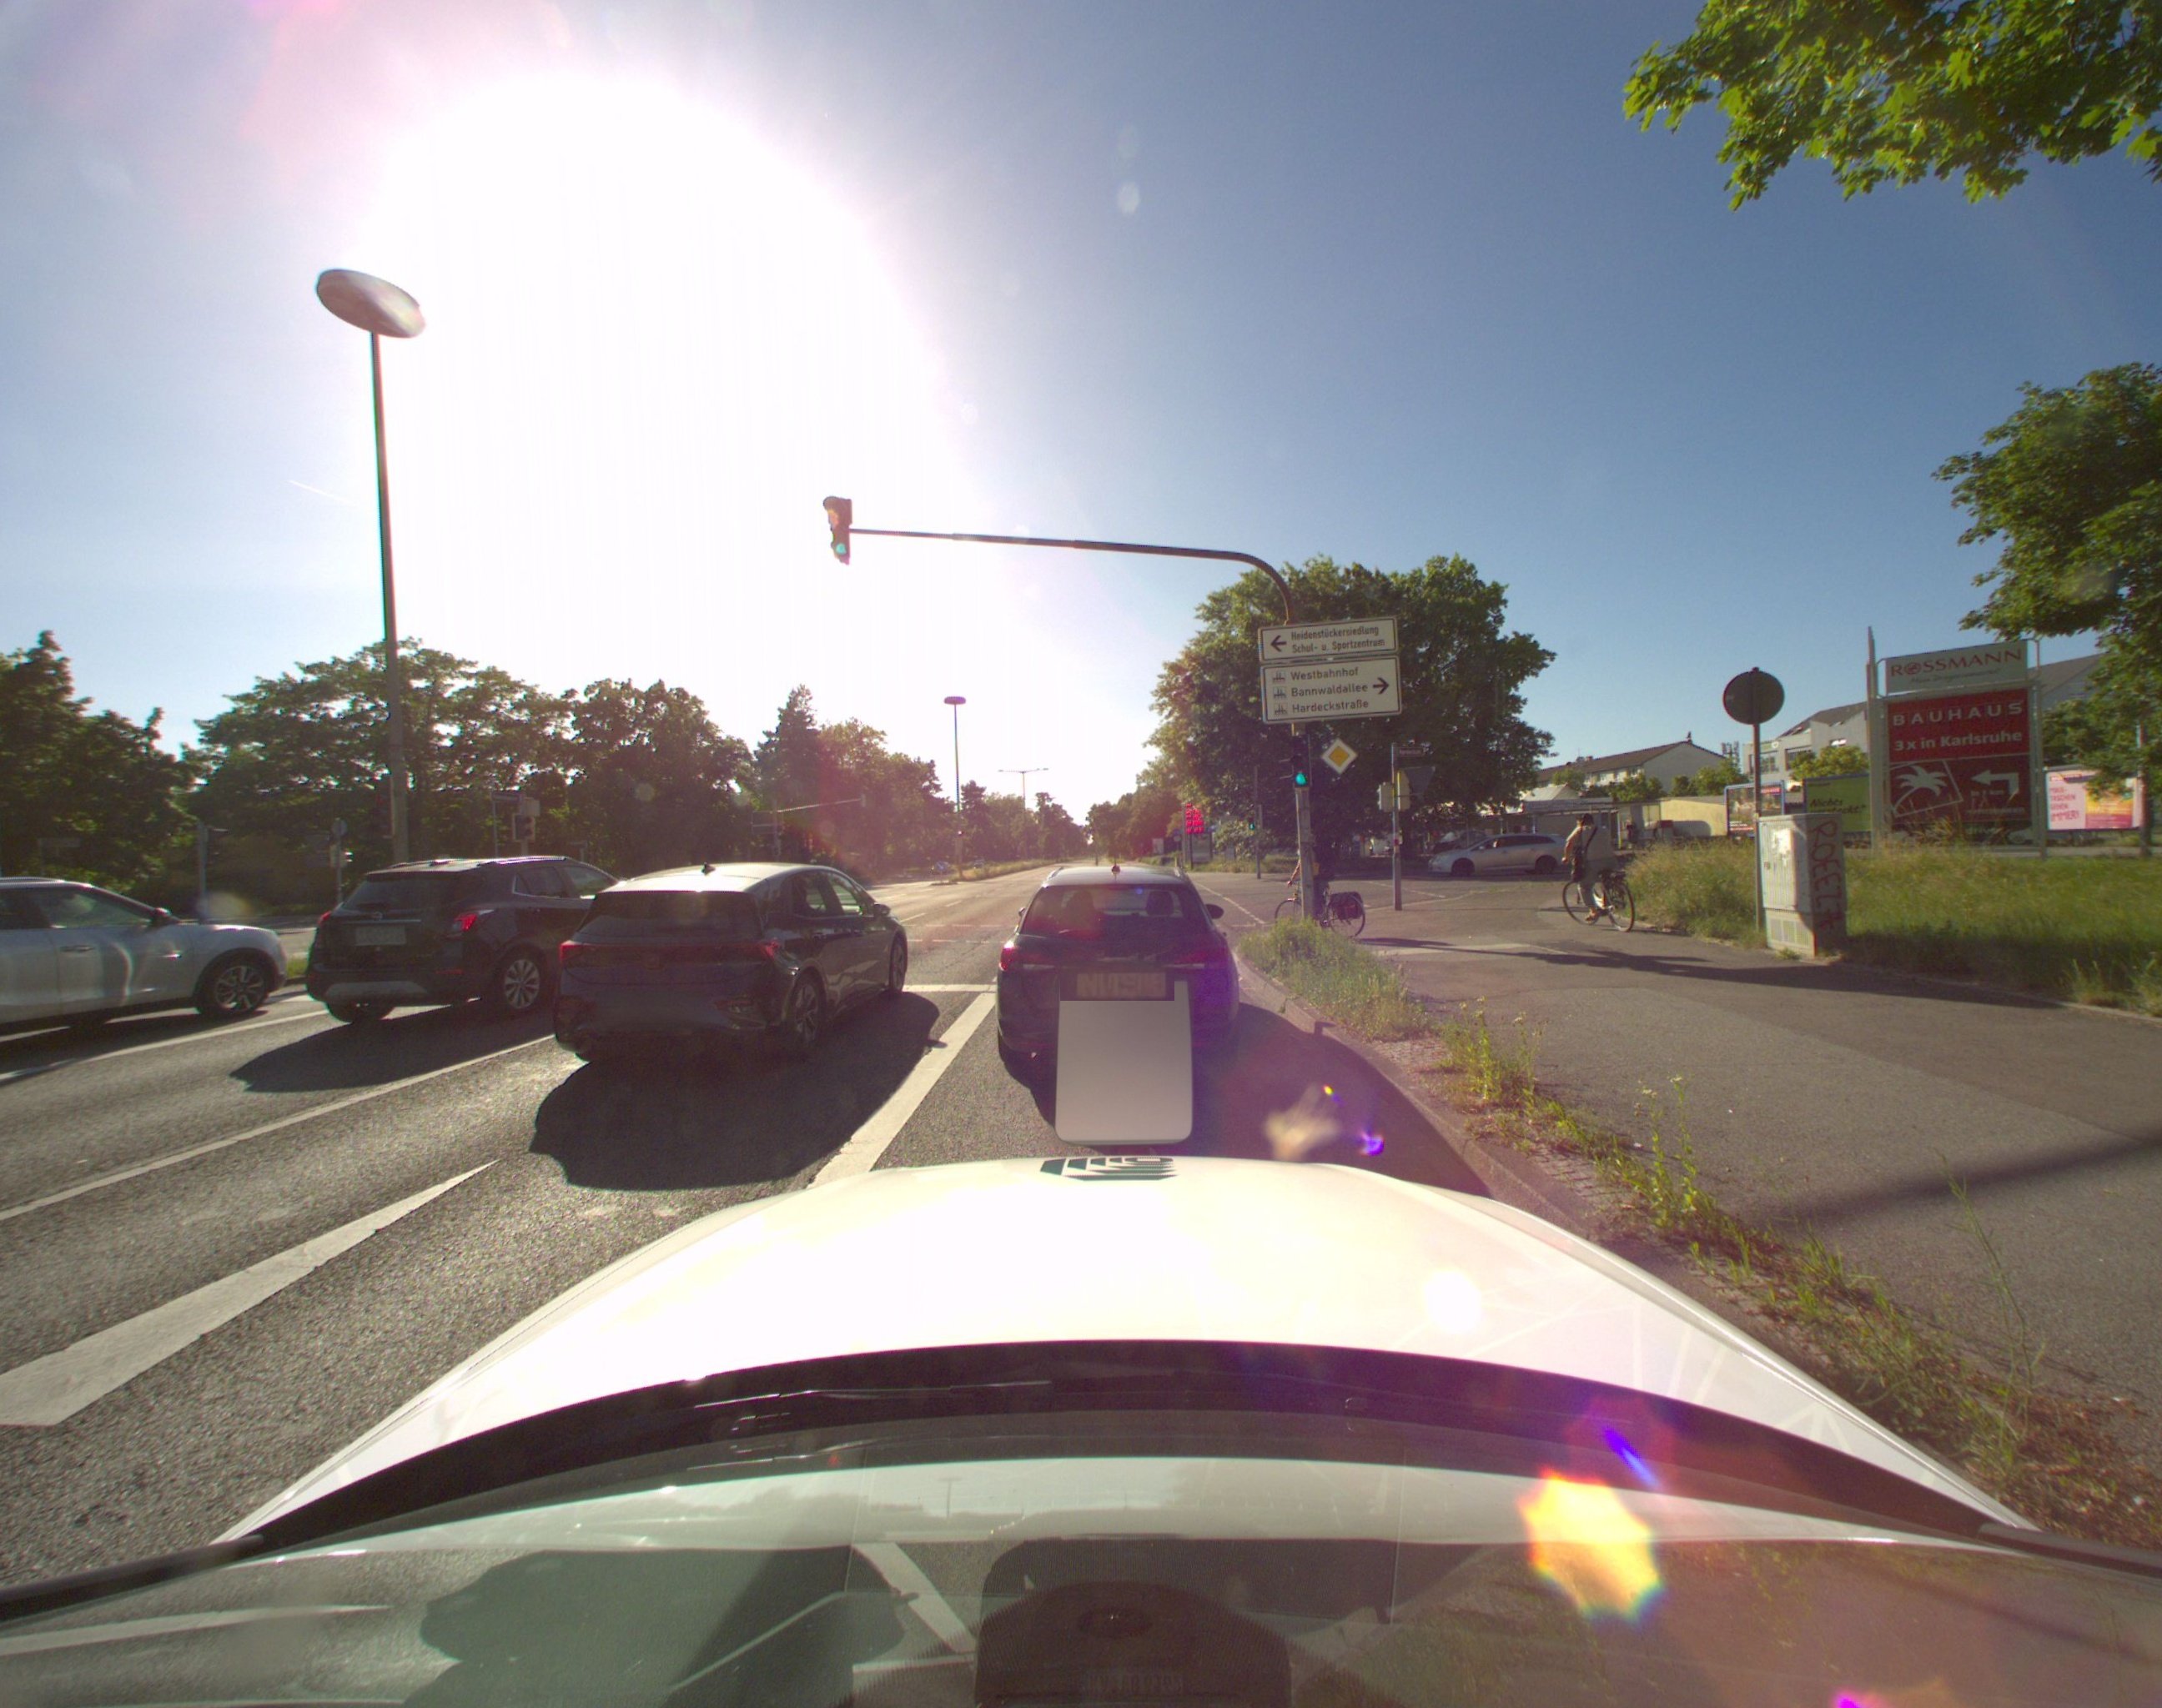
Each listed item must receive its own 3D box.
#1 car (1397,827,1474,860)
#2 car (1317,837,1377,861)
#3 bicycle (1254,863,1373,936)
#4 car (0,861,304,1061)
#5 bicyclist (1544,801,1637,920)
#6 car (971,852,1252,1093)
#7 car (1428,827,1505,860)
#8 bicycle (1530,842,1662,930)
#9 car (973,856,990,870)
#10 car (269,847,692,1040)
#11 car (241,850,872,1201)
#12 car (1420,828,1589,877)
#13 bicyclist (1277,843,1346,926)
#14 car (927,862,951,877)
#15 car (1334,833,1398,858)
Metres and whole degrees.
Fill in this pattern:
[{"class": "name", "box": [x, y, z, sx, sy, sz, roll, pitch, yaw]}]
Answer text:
[{"class": "car", "box": [21.403, -0.636, 49.164, 4.003, 1.749, 1.985, -3, 0, -22]}, {"class": "car", "box": [19.351, -0.370, 59.317, 3.903, 1.518, 1.733, -3, 0, -21]}, {"class": "bicycle", "box": [3.729, 0.750, 13.169, 0.540, 1.097, 1.755, -3, -2, -41]}, {"class": "car", "box": [-10.232, 0.970, 7.726, 1.824, 1.702, 3.999, -3, 0, 0]}, {"class": "bicyclist", "box": [7.183, 0.096, 11.536, 0.576, 1.581, 0.998, -4, -2, 1]}, {"class": "car", "box": [0.259, 0.768, 7.253, 1.750, 1.495, 4.208, -1, -1, 2]}, {"class": "car", "box": [22.394, -0.619, 47.317, 4.002, 1.680, 1.733, -3, 0, -21]}, {"class": "bicycle", "box": [7.208, 0.443, 11.525, 0.576, 1.097, 1.988, -4, -2, 2]}, {"class": "car", "box": [-15.480, 1.333, 127.336, 1.986, 2.013, 4.001, -3, 0, 1]}, {"class": "car", "box": [-6.490, 0.826, 9.494, 1.798, 1.689, 4.002, -3, 0, 2]}, {"class": "car", "box": [-2.960, 0.808, 5.846, 1.678, 1.580, 4.208, -1, -1, 2]}, {"class": "car", "box": [14.970, -0.043, 29.087, 4.969, 1.486, 2.007, -2, 0, 13]}, {"class": "bicyclist", "box": [3.715, 0.504, 13.173, 0.541, 1.277, 0.819, -3, -2, -42]}, {"class": "car", "box": [-16.606, 1.772, 95.383, 1.986, 1.530, 4.001, -3, 0, 1]}, {"class": "car", "box": [19.684, -0.590, 56.226, 3.903, 1.518, 1.733, -3, 0, -21]}]
